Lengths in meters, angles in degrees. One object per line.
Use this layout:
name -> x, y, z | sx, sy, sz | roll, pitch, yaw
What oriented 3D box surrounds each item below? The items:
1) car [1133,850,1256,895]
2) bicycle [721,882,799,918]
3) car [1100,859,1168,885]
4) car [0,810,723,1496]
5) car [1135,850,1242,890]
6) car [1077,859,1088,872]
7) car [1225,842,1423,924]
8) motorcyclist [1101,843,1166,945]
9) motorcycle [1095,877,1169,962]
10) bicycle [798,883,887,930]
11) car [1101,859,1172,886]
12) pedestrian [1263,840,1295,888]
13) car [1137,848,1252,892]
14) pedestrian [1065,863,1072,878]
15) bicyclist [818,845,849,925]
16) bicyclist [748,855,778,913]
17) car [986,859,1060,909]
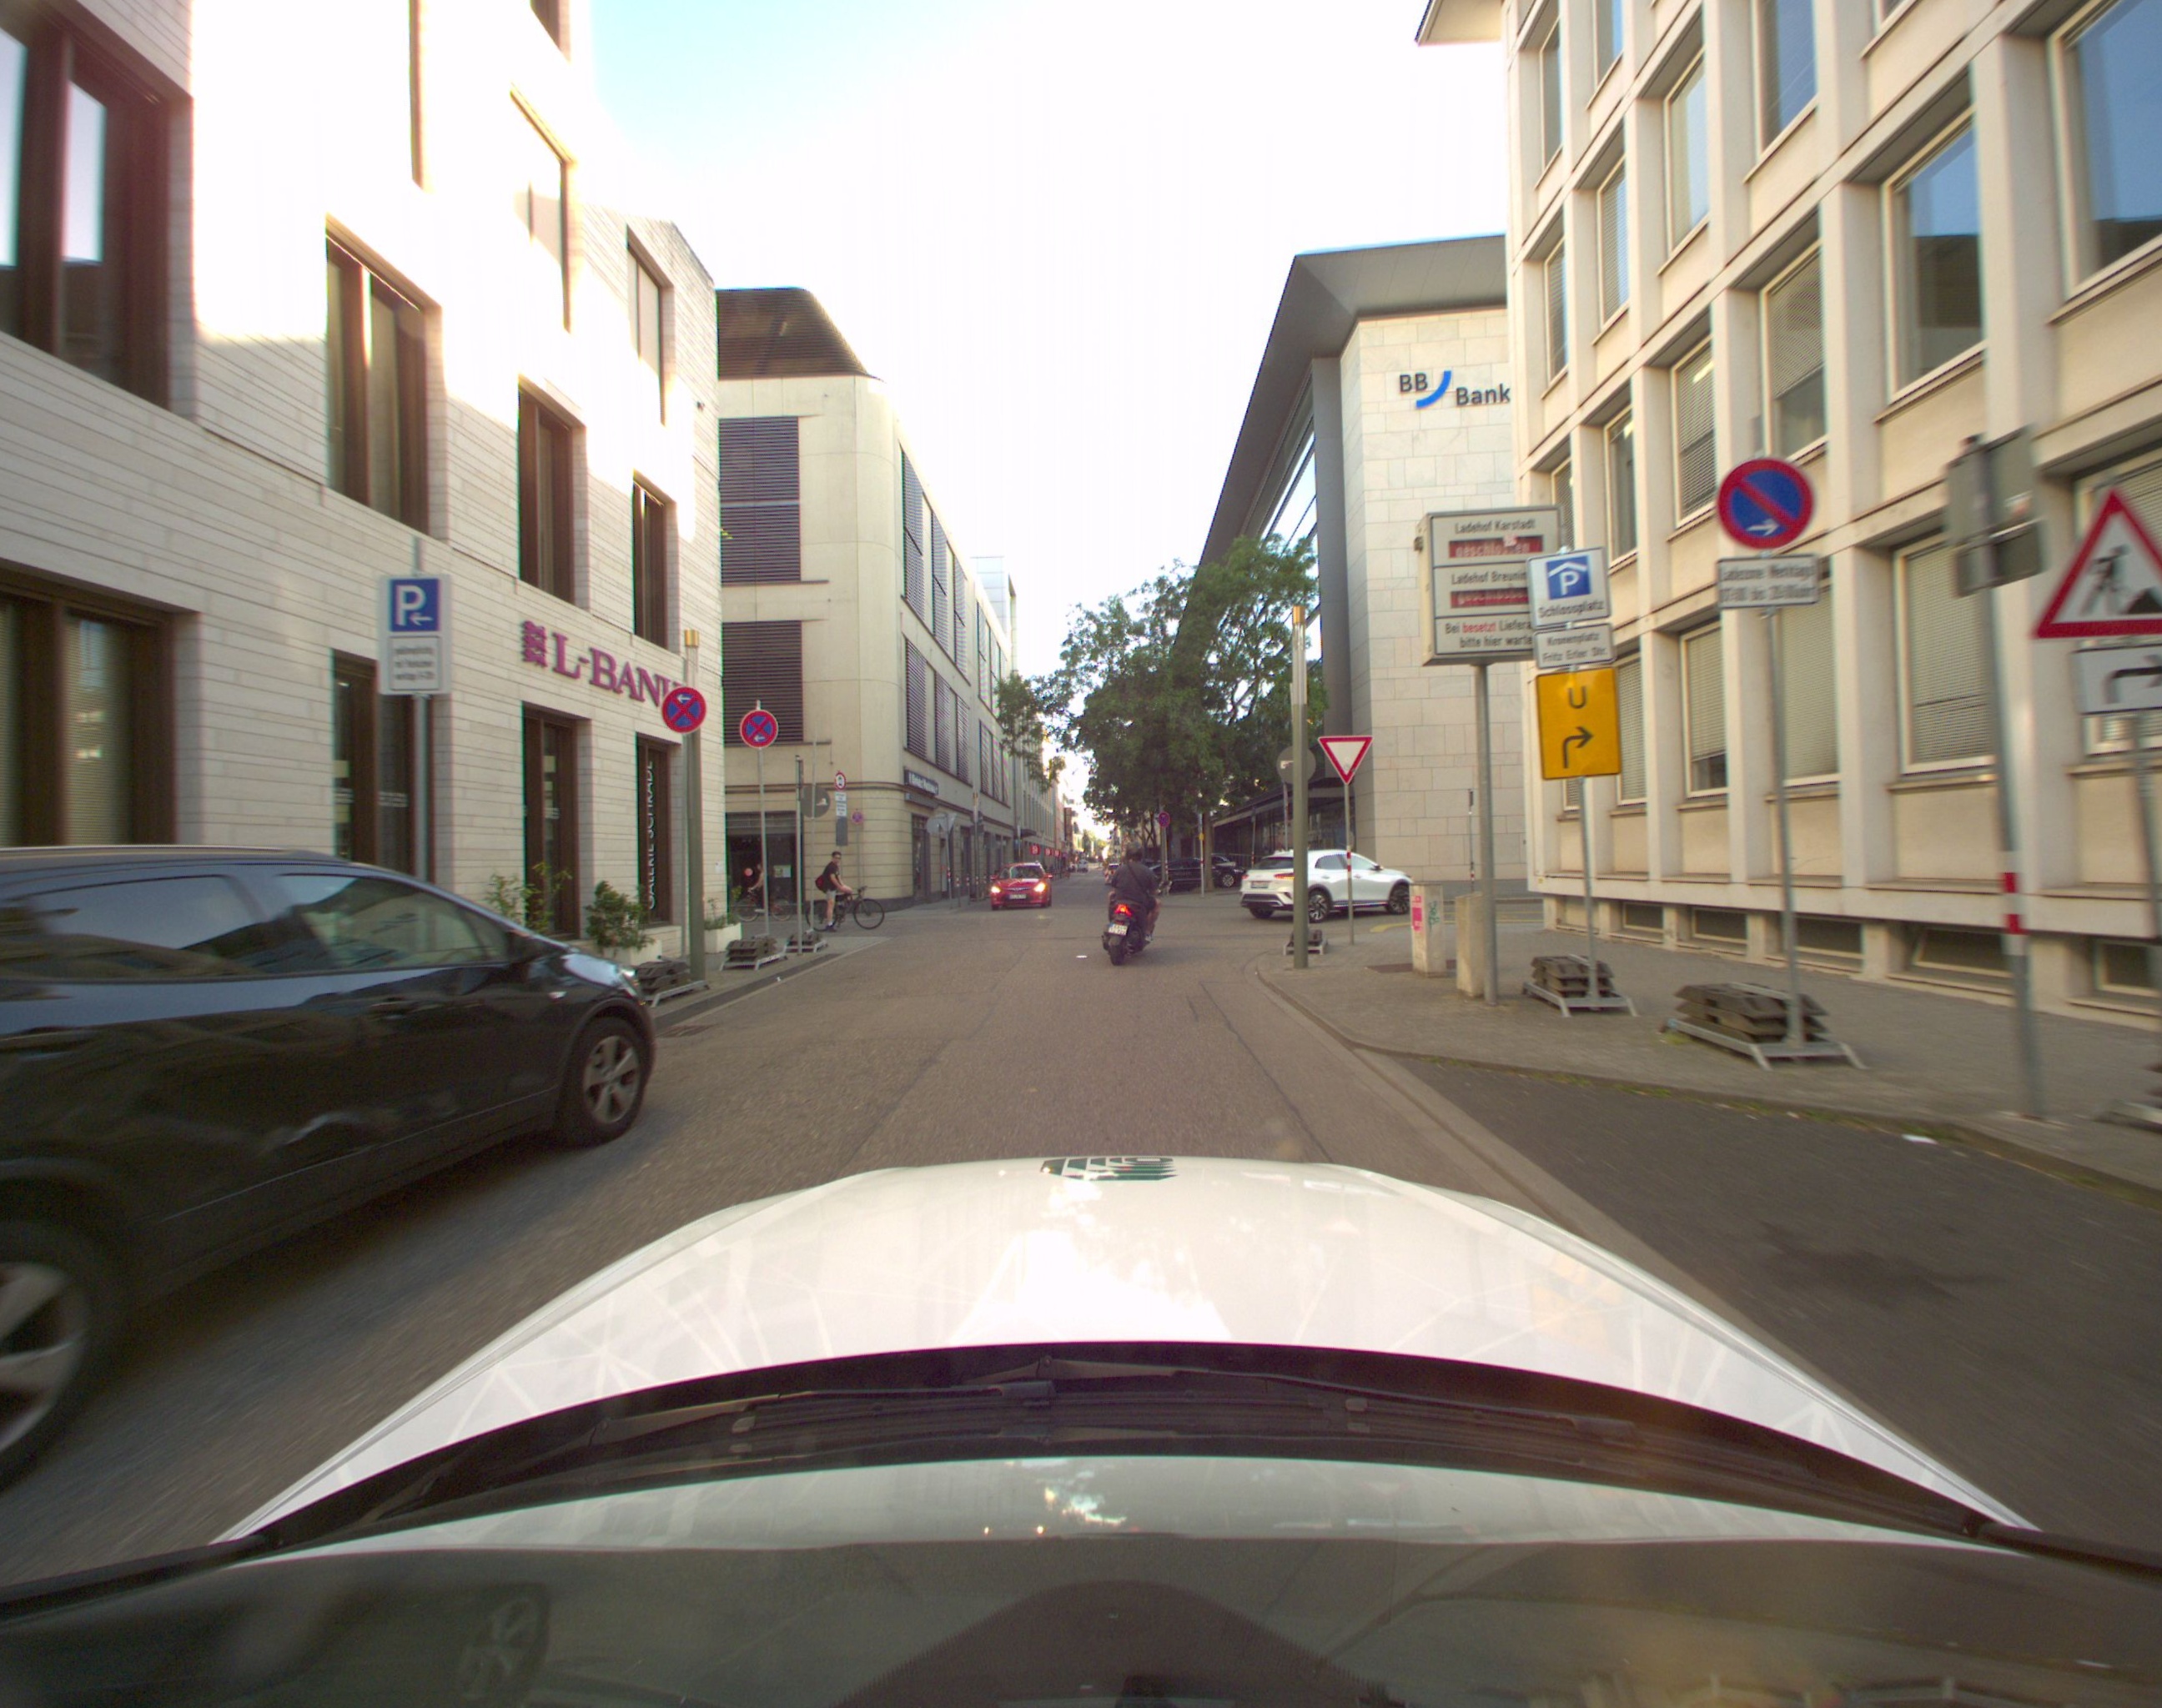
car -> 4.893, 0.818, 35.694 | 4.990, 1.451, 1.999 | -5, -1, -1
bicycle -> -9.243, 1.313, 23.446 | 2.091, 0.995, 0.519 | -1, -1, 7
car -> 4.041, 1.377, 62.605 | 4.990, 1.499, 1.999 | -5, -1, -1
car -> -3.510, 0.782, 3.433 | 1.815, 1.677, 4.267 | -4, 0, 3
car -> 5.298, 0.785, 40.585 | 4.990, 1.499, 1.999 | -5, -1, -1
car -> 0.309, 1.995, 148.481 | 1.987, 2.329, 5.019 | 0, -1, -1
car -> 5.439, 0.575, 18.096 | 4.278, 1.541, 1.810 | -2, 0, -31
motorcyclist -> 0.762, 0.569, 11.757 | 0.862, 1.427, 0.456 | -1, -1, 8
motorcycle -> 0.779, 0.911, 11.826 | 0.867, 1.109, 1.844 | -1, -1, 9
bicycle -> -5.249, 1.150, 17.978 | 1.813, 0.974, 0.510 | -1, -1, -7
car -> 4.029, 1.355, 60.014 | 4.990, 1.499, 1.999 | -5, -1, -1
pedestrian -> 7.439, 0.380, 30.693 | 0.901, 1.706, 0.835 | -5, -2, 3
car -> 5.243, 0.749, 38.182 | 4.990, 1.499, 1.999 | -5, -1, -1
pedestrian -> -1.390, 1.822, 89.554 | 0.729, 1.574, 0.636 | -1, -1, 2
bicyclist -> -5.453, 0.675, 17.967 | 0.549, 1.732, 0.500 | -1, -1, -7
bicyclist -> -9.110, 0.854, 23.342 | 0.626, 1.625, 0.499 | -1, -1, 6
car -> -1.818, 0.984, 26.879 | 1.814, 1.465, 4.267 | -2, -2, 4
